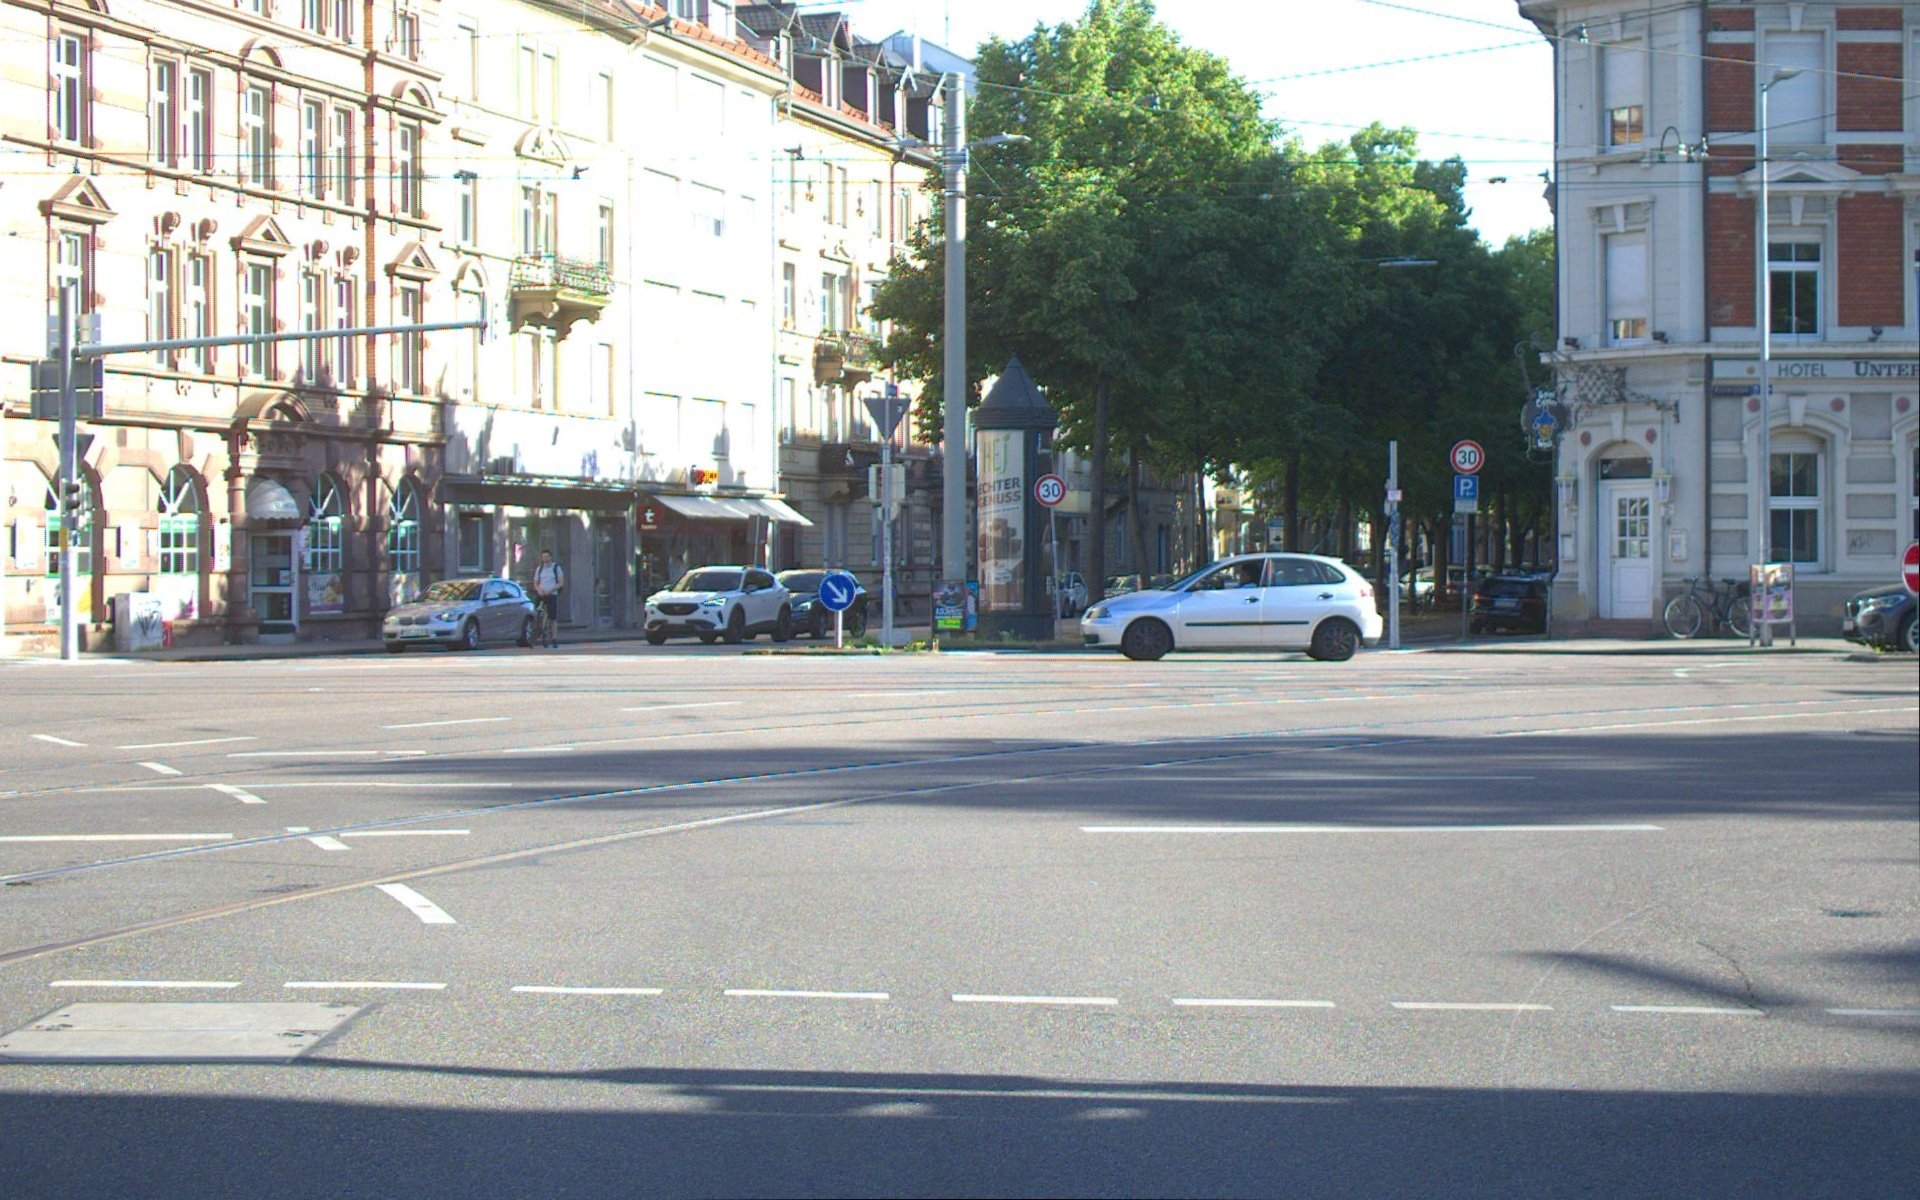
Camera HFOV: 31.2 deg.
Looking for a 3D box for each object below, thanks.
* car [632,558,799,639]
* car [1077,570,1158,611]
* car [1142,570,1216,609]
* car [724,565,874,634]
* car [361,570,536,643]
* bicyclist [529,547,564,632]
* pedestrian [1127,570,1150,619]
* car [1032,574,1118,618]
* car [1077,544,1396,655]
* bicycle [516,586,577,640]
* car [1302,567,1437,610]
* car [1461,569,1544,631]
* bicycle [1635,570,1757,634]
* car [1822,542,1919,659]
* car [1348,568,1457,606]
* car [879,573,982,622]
[{"bbox_3d":[-4.757,-0.052,67.489,1.995,1.511,4.166,0,1,16],"label":"car"},{"bbox_3d":[5.640,-0.339,122.599,1.995,1.400,4.166,0,1,16],"label":"car"},{"bbox_3d":[8.392,-0.417,131.427,1.995,1.400,4.166,0,1,16],"label":"car"},{"bbox_3d":[-3.405,-0.039,73.663,1.995,1.400,4.166,0,1,16],"label":"car"},{"bbox_3d":[-9.933,0.103,67.062,1.995,1.357,3.816,0,1,16],"label":"car"},{"bbox_3d":[-7.845,-0.201,65.212,0.489,1.596,0.666,0,1,10],"label":"bicyclist"},{"bbox_3d":[5.112,-0.156,98.528,0.547,1.380,0.625,0,1,16],"label":"pedestrian"},{"bbox_3d":[3.928,-0.150,116.880,1.995,1.400,4.166,0,1,16],"label":"car"},{"bbox_3d":[3.604,-0.016,45.327,4.027,1.418,1.886,0,1,0],"label":"car"},{"bbox_3d":[-7.852,0.233,65.319,0.655,0.997,1.664,1,1,12],"label":"bicycle"},{"bbox_3d":[12.567,-0.347,105.414,3.989,1.284,1.694,0,1,11],"label":"car"},{"bbox_3d":[13.040,-0.023,82.549,1.756,1.415,3.998,0,1,12],"label":"car"},{"bbox_3d":[12.266,0.028,57.363,1.953,1.050,0.715,0,1,10],"label":"bicycle"},{"bbox_3d":[14.705,-0.015,48.438,4.579,1.610,2.000,0,1,-2],"label":"car"},{"bbox_3d":[14.352,-0.428,111.487,3.435,1.235,1.576,0,1,11],"label":"car"},{"bbox_3d":[-0.853,-0.091,102.110,1.995,1.400,4.166,0,1,16],"label":"car"}]
